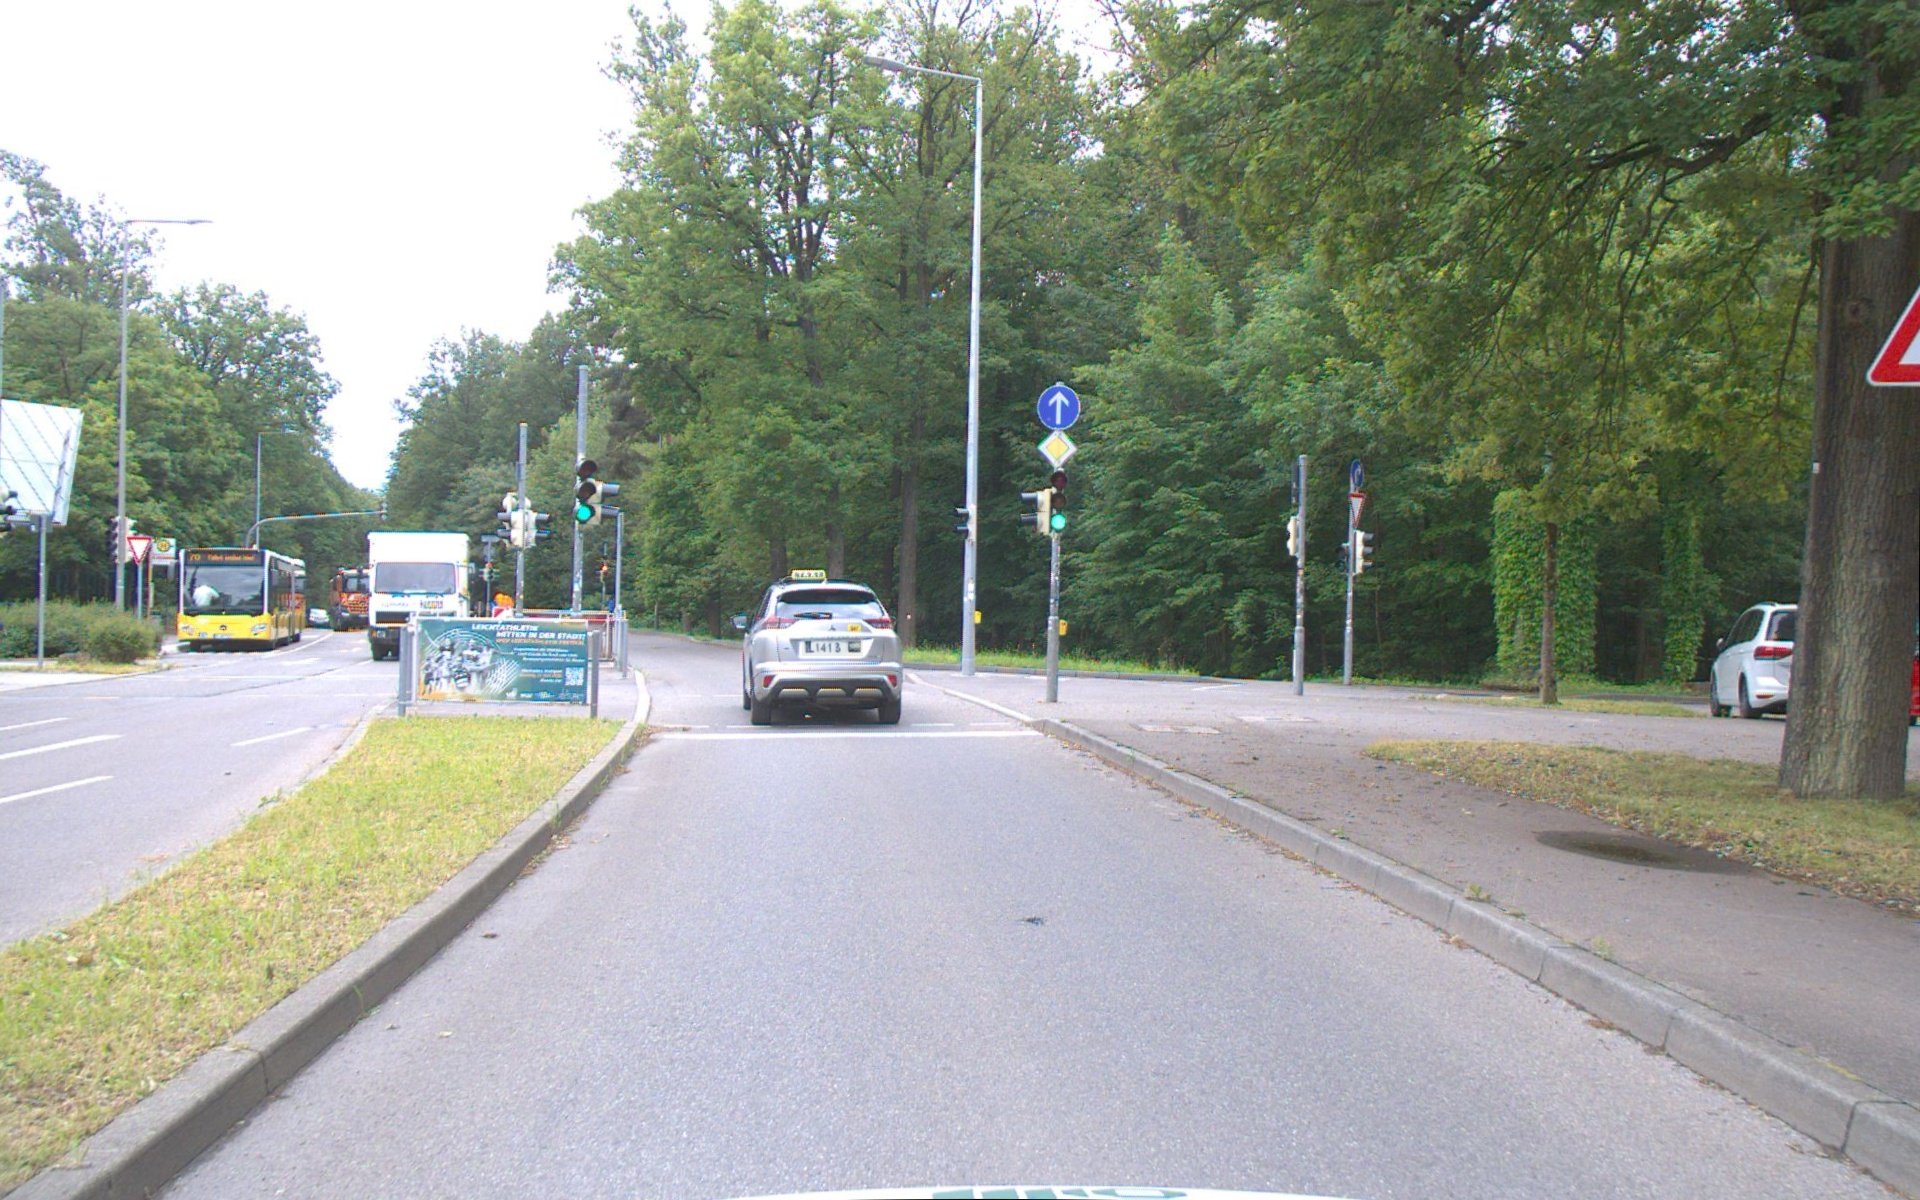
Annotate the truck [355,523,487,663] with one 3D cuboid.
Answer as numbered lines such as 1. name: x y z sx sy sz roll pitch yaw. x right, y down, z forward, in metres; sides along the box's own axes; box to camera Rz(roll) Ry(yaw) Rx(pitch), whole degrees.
1. truck: -13.729 -0.171 42.545 2.583 3.295 6.186 -1 0 -12

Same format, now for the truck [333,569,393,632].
1. truck: -33.968 0.077 93.962 2.703 3.376 7.106 -1 -1 -24

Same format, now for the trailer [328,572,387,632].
1. trailer: -35.976 0.183 98.581 2.703 3.376 8.505 -1 -1 -24

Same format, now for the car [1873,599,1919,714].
1. car: 14.121 0.807 22.706 1.848 1.579 4.002 2 0 16

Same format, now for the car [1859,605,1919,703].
1. car: 19.836 1.097 32.870 1.951 1.911 4.954 2 0 10

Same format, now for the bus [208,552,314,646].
1. bus: -25.668 -0.006 61.058 2.854 3.182 8.648 1 0 -18

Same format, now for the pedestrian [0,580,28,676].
1. pedestrian: -17.552 0.497 29.722 0.889 1.706 1.095 0 -1 12

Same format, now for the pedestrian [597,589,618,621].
1. pedestrian: -18.483 0.255 86.667 1.030 1.678 1.064 -1 0 -16

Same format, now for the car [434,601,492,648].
1. car: -17.265 0.854 57.571 1.778 1.535 4.290 -1 -1 -15

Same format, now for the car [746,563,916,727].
1. car: -1.689 0.496 20.441 1.812 1.811 3.992 1 0 -8

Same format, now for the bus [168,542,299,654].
1. bus: -22.787 -0.031 52.329 2.854 3.182 9.707 1 0 -18

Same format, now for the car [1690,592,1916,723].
1. car: 11.699 0.743 23.276 1.951 1.579 4.423 2 0 16
